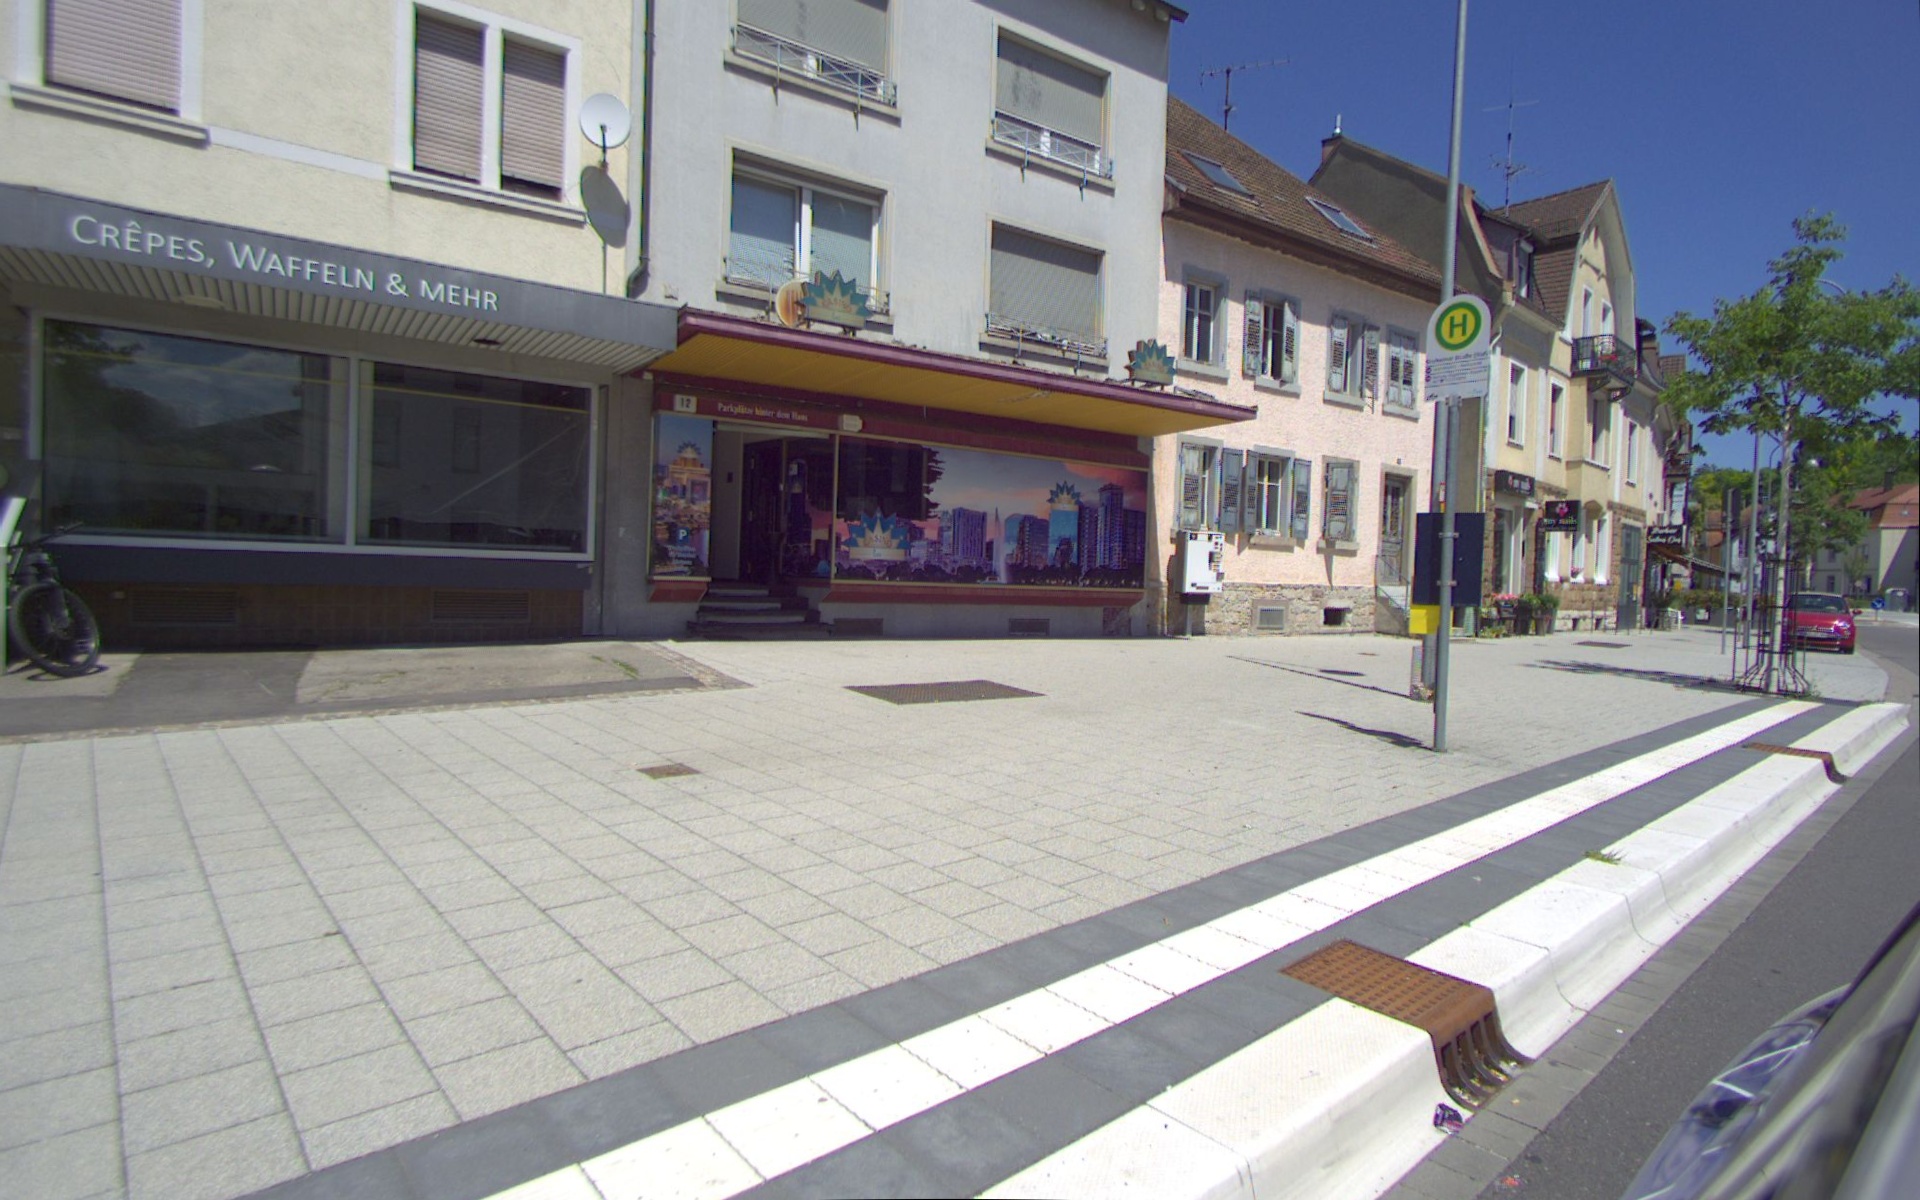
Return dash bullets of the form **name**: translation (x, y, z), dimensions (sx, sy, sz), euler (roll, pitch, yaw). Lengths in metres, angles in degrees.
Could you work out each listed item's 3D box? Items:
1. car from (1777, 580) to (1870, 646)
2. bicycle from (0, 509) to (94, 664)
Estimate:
- **car**: translation (22.190, 0.284, 25.963), dimensions (1.679, 1.533, 3.335), euler (3, 2, 42)
- **bicycle**: translation (-7.668, -0.108, 8.394), dimensions (0.406, 1.199, 1.276), euler (0, 0, -25)
